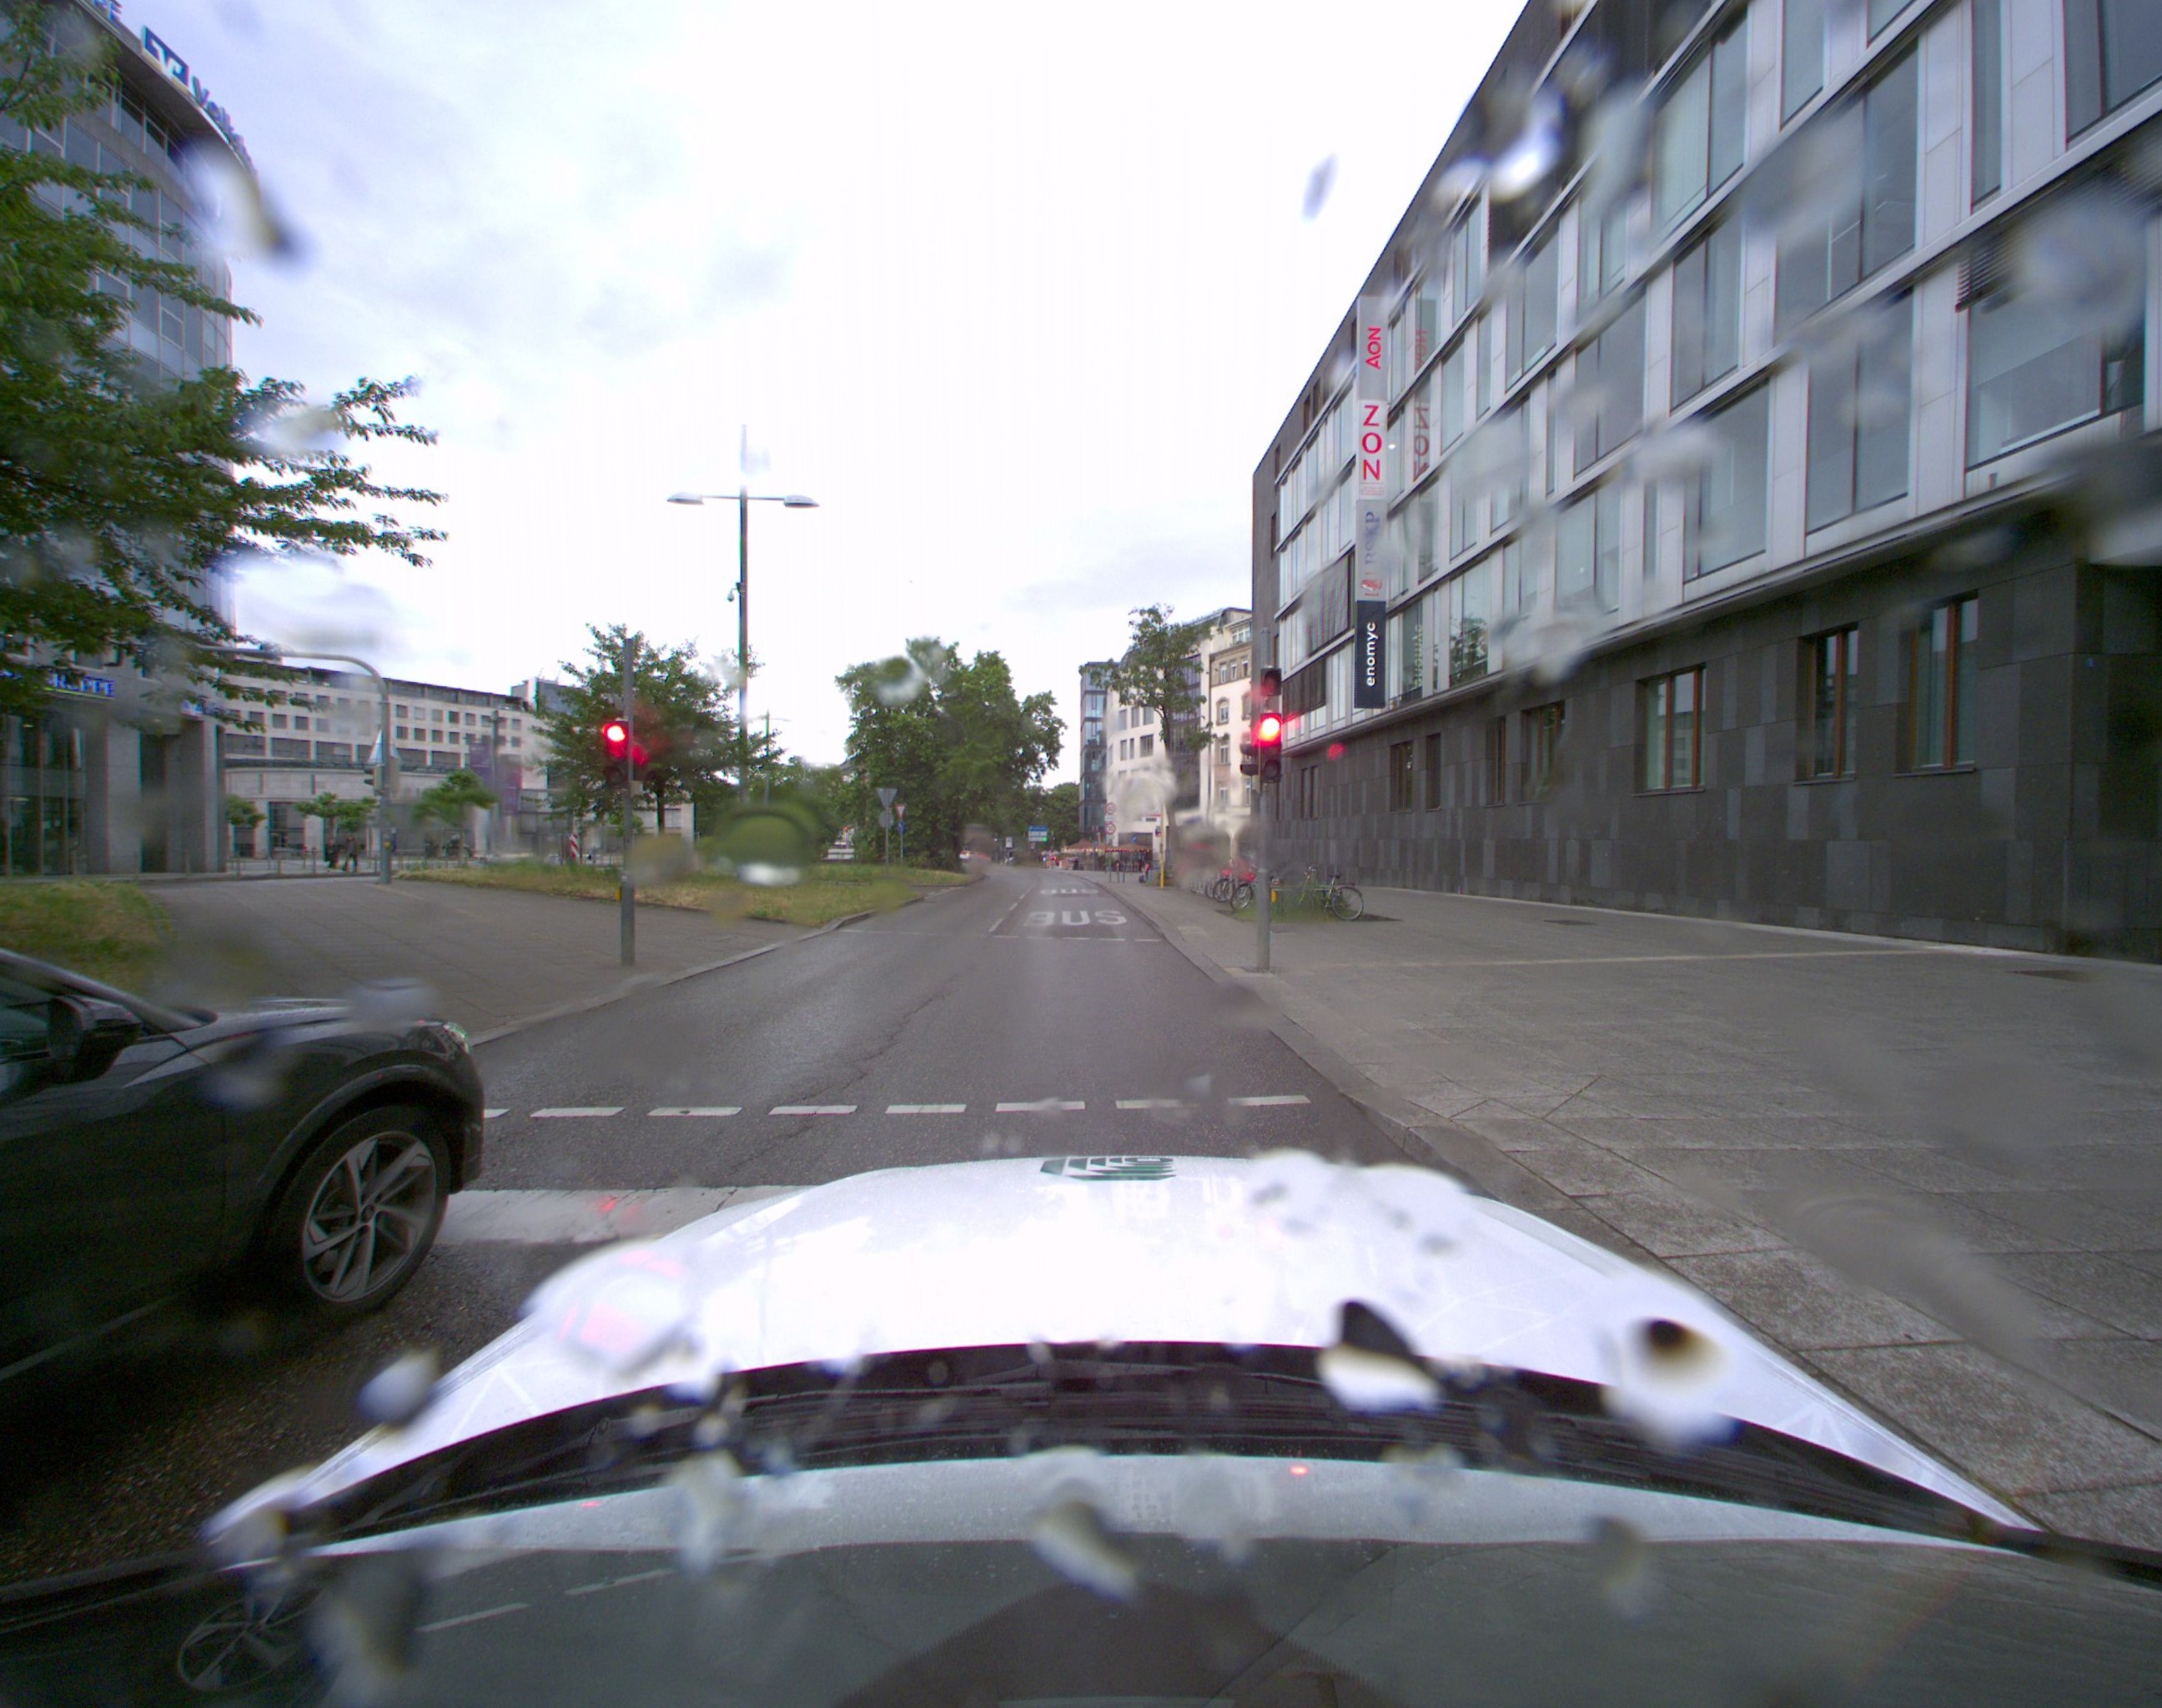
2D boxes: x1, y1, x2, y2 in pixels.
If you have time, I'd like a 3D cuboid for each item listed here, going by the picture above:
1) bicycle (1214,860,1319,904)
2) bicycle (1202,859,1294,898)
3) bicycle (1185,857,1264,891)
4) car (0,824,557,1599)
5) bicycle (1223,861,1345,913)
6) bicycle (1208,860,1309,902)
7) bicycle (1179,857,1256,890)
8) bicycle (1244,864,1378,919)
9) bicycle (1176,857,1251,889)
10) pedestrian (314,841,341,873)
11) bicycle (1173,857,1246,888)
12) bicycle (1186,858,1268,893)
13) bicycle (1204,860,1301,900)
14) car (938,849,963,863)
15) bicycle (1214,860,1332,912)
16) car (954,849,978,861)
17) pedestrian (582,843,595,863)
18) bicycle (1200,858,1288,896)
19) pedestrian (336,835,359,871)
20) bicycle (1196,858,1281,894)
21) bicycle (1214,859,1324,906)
[{"bbox_3d":[4.727,0.710,20.838,2.530,1.087,0.677,-1,0,-3],"label":"bicycle"},{"bbox_3d":[4.787,0.694,23.424,2.530,1.087,0.677,-1,0,-3],"label":"bicycle"},{"bbox_3d":[4.784,0.663,27.194,2.530,1.087,0.677,-1,0,-3],"label":"bicycle"},{"bbox_3d":[-3.159,0.736,1.350,1.842,1.616,4.251,1,1,-1],"label":"car"},{"bbox_3d":[4.454,0.713,17.958,2.530,1.087,0.677,0,0,-3],"label":"bicycle"},{"bbox_3d":[4.696,0.707,21.649,2.530,1.087,0.677,-1,0,-3],"label":"bicycle"},{"bbox_3d":[4.688,0.652,28.086,2.530,1.087,0.677,-1,0,-3],"label":"bicycle"},{"bbox_3d":[4.634,0.754,16.476,2.530,1.057,0.677,0,0,-3],"label":"bicycle"},{"bbox_3d":[4.665,0.665,28.834,2.530,1.087,0.677,-1,0,-3],"label":"bicycle"},{"bbox_3d":[-37.483,0.147,40.509,0.731,1.516,0.686,-2,0,-24],"label":"pedestrian"},{"bbox_3d":[4.653,0.675,29.557,2.530,1.087,0.627,-1,0,-3],"label":"bicycle"},{"bbox_3d":[4.725,0.678,26.442,2.530,1.087,0.677,-1,0,-3],"label":"bicycle"},{"bbox_3d":[4.730,0.709,22.516,2.530,1.060,0.677,-1,0,-3],"label":"bicycle"},{"bbox_3d":[-16.001,0.234,99.777,2.002,1.647,3.969,2,0,-23],"label":"car"},{"bbox_3d":[4.403,0.729,18.764,2.530,1.087,0.677,2,0,-3],"label":"bicycle"},{"bbox_3d":[-16.689,0.174,117.986,2.164,1.700,4.014,0,0,13],"label":"car"},{"bbox_3d":[-50.900,-0.116,84.115,0.786,2.014,0.741,2,0,2],"label":"pedestrian"},{"bbox_3d":[4.918,0.679,24.619,2.530,1.087,0.677,-1,0,-3],"label":"bicycle"},{"bbox_3d":[-36.641,-0.025,40.695,0.622,1.763,0.720,-2,0,-23],"label":"pedestrian"},{"bbox_3d":[4.937,0.678,25.597,2.530,1.087,0.677,-1,0,-3],"label":"bicycle"},{"bbox_3d":[4.600,0.691,19.985,2.530,1.087,0.677,-1,0,-3],"label":"bicycle"}]
